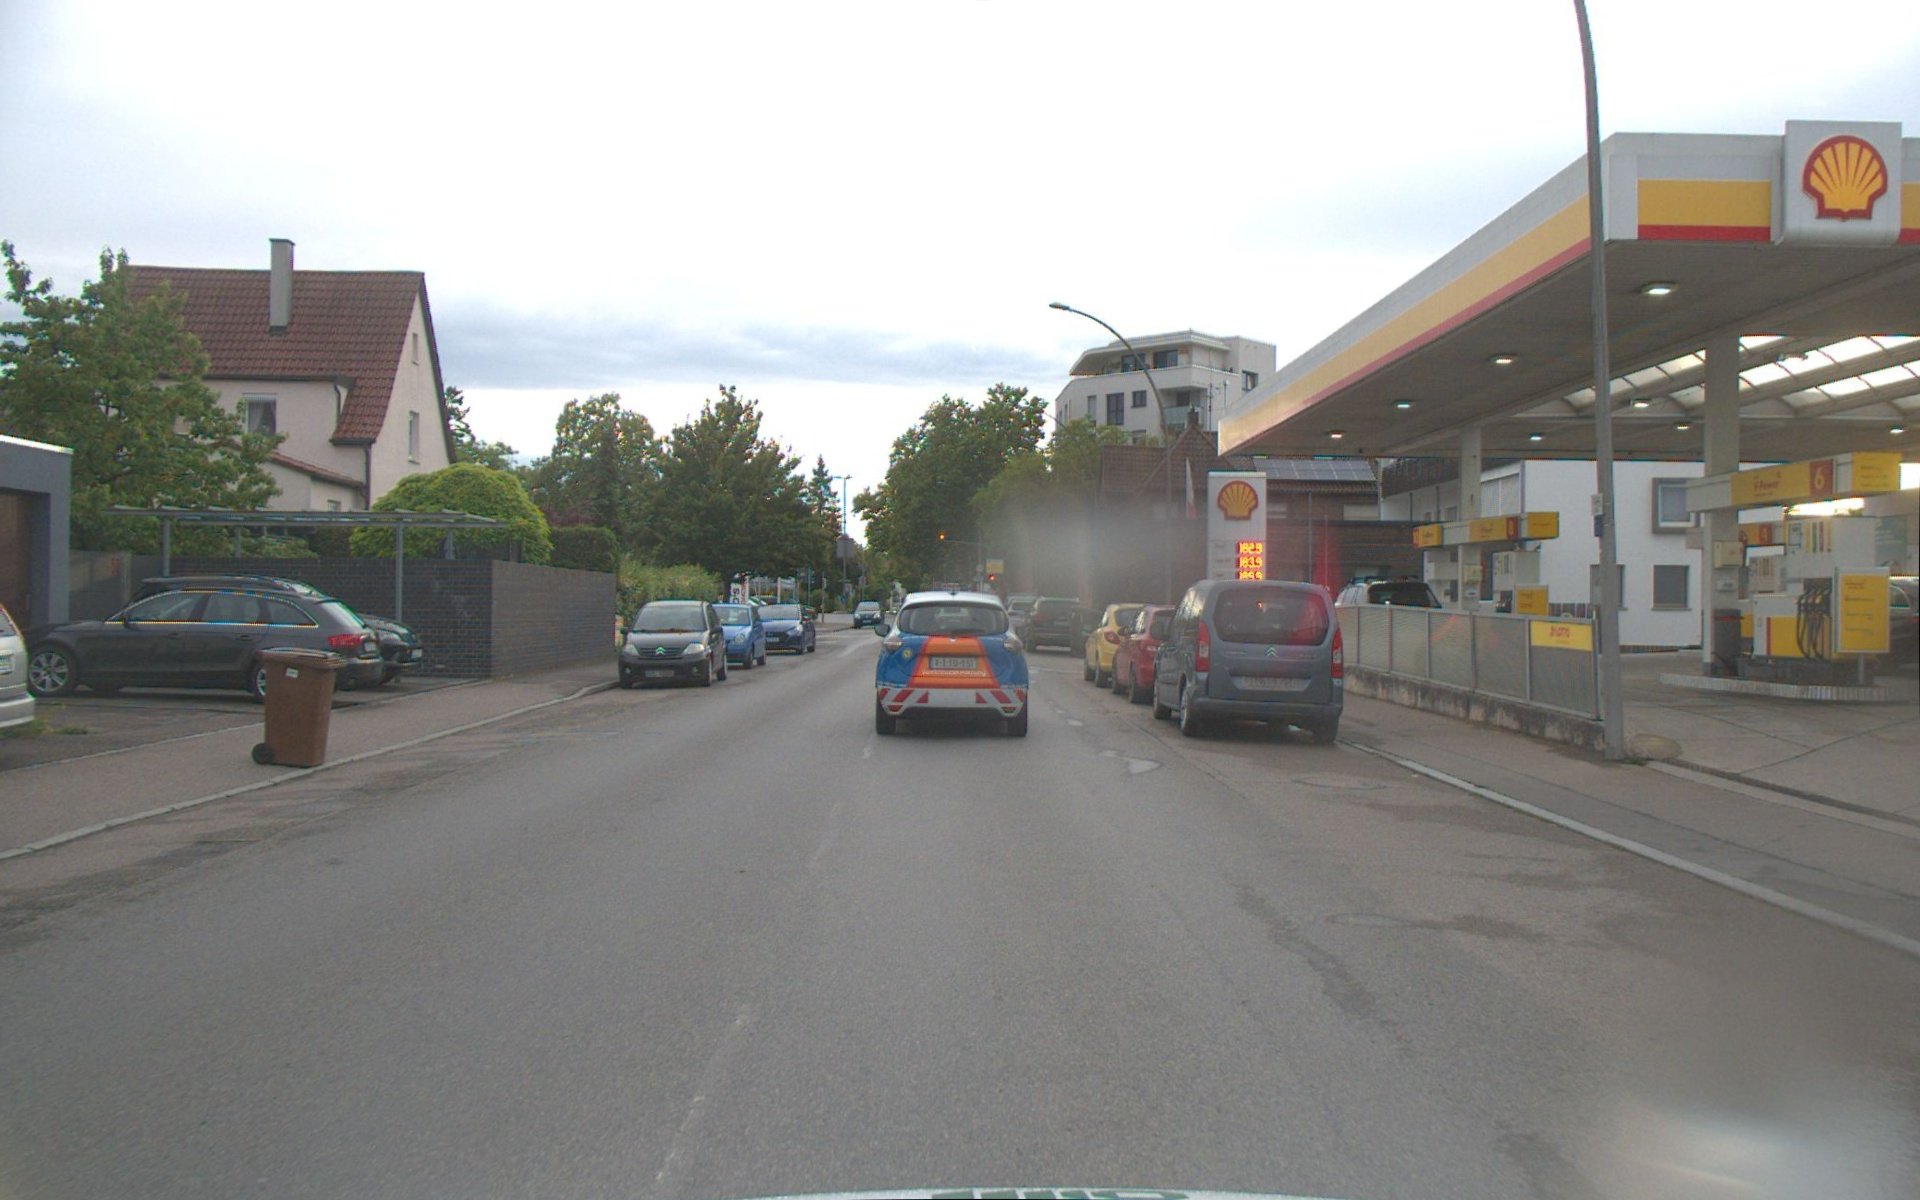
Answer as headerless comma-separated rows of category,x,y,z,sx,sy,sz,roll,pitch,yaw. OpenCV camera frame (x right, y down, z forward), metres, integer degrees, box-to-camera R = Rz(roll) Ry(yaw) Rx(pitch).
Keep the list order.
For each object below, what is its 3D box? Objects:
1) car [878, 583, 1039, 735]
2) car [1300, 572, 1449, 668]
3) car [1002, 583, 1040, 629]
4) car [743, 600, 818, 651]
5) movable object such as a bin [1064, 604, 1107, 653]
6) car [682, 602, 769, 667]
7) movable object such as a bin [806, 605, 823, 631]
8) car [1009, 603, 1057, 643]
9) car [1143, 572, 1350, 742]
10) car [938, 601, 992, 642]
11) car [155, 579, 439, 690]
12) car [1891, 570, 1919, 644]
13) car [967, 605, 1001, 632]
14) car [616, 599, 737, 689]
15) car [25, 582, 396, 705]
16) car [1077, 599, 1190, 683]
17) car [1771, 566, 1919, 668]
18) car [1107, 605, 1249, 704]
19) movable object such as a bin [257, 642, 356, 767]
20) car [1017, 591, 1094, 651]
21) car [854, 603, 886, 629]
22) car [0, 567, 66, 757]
car,-0.032,0.608,19.529,1.710,1.608,4.000,0,0,-1
car,8.151,0.378,32.862,1.783,1.790,3.998,0,0,-3
car,2.919,0.265,79.115,1.741,2.064,4.755,2,1,2
car,-5.259,0.725,48.901,1.770,1.427,3.944,-1,0,0
movable object such as a bin,3.663,0.821,48.497,1.104,1.413,1.503,0,0,-2
car,-5.397,0.767,38.460,1.514,1.427,3.597,-1,0,0
movable object such as a bin,-6.508,0.807,73.977,0.693,1.150,0.735,1,0,0
car,3.198,0.993,72.962,1.828,1.694,4.319,1,0,-1
car,3.364,0.621,20.194,1.622,1.768,4.443,3,0,-1
car,0.251,0.895,71.376,1.951,1.601,4.003,2,1,5
car,-9.790,0.501,24.656,3.516,1.482,1.755,2,0,-5
car,20.044,0.149,32.160,1.704,1.491,3.779,0,0,-1
car,1.437,1.122,100.399,1.758,1.453,3.997,2,1,-4
car,-5.143,0.756,30.402,1.576,1.532,3.707,-1,0,0
car,-9.623,0.544,21.509,4.005,1.438,1.712,1,0,-6
car,3.132,0.711,30.503,1.622,1.426,3.801,1,0,-1
car,14.916,0.249,26.292,1.704,1.491,4.672,0,0,-1
car,3.318,0.789,25.806,1.622,1.400,4.024,1,0,-1
movable object such as a bin,-6.189,0.981,15.687,0.584,1.075,0.687,5,1,-1
car,2.945,0.612,51.785,2.048,1.691,4.558,2,1,-1
car,-5.159,0.932,95.100,1.593,1.458,3.684,0,0,1
car,-9.784,0.489,13.424,4.005,1.540,1.881,0,0,-7
